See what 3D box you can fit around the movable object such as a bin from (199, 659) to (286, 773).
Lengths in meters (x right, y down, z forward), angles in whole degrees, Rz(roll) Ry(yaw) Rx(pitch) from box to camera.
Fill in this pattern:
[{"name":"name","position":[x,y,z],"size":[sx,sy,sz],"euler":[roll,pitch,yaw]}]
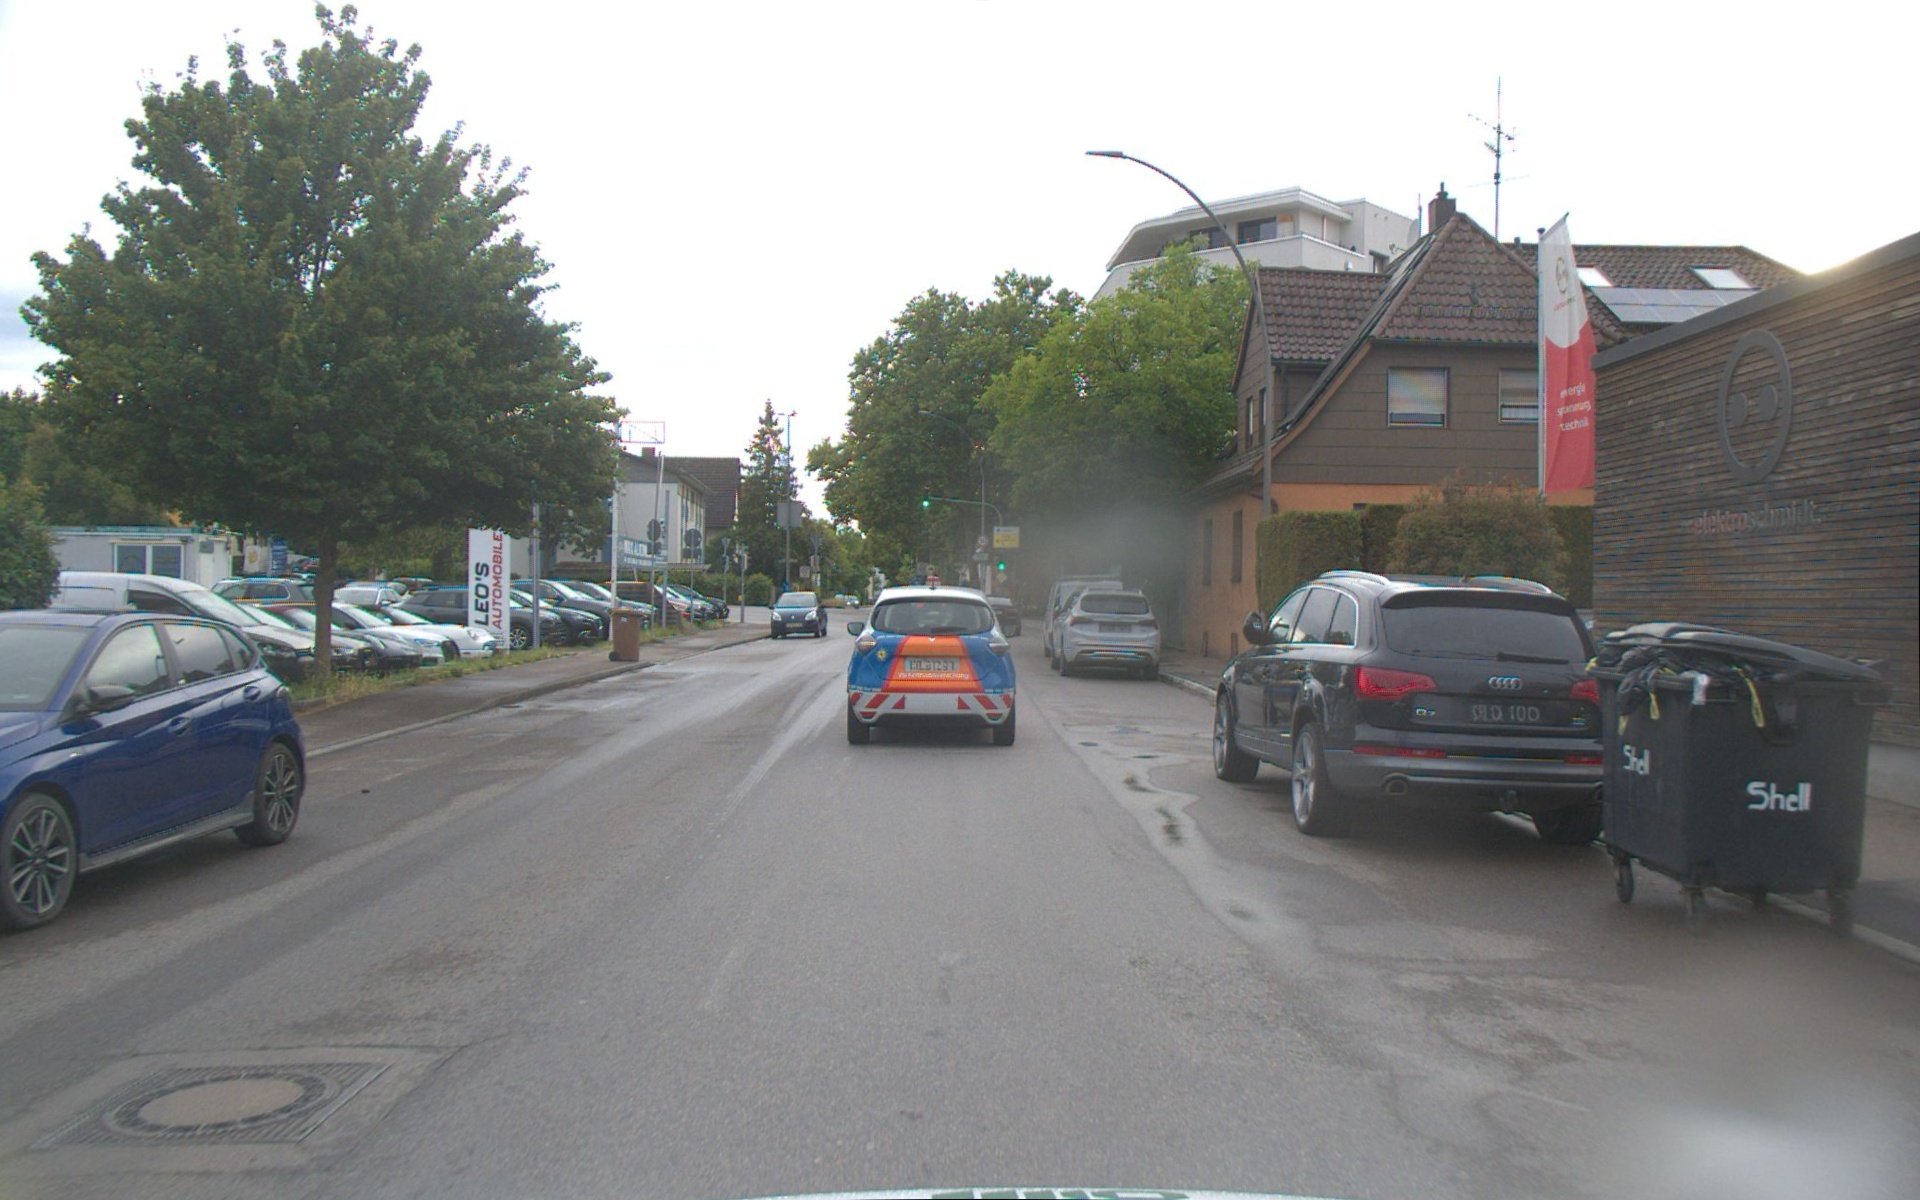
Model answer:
[{"name":"movable object such as a bin","position":[-6.197,0.997,14.294],"size":[0.529,0.926,0.424],"euler":[3,0,-2]}]

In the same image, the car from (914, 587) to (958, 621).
[{"name":"car","position":[-1.142,0.162,76.166],"size":[1.759,1.453,3.997],"euler":[1,1,-4]}]

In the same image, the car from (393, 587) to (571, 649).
[{"name":"car","position":[-11.889,0.427,41.343],"size":[3.905,1.489,1.839],"euler":[0,0,0]}]

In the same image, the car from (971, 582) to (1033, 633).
[{"name":"car","position":[1.422,0.235,57.758],"size":[1.953,1.601,4.000],"euler":[1,1,-1]}]

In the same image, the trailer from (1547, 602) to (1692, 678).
[{"name":"trailer","position":[10.441,0.624,26.220],"size":[1.878,1.052,0.919],"euler":[-4,1,-6]}]

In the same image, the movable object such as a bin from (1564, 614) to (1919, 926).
[{"name":"movable object such as a bin","position":[3.939,0.797,8.453],"size":[1.104,1.412,1.503],"euler":[0,0,-3]}]

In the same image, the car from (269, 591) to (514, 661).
[{"name":"car","position":[-11.481,0.513,33.613],"size":[4.361,1.355,1.771],"euler":[0,0,-1]}]

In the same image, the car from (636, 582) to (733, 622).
[{"name":"car","position":[-11.403,0.076,68.336],"size":[3.875,1.557,1.618],"euler":[1,1,-11]}]

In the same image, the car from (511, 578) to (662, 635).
[{"name":"car","position":[-11.595,0.200,51.522],"size":[4.258,1.720,1.959],"euler":[0,0,0]}]

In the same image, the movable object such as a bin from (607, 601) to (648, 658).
[{"name":"movable object such as a bin","position":[-6.849,0.612,34.124],"size":[0.693,1.149,0.735],"euler":[1,0,-1]}]

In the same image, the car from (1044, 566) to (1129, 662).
[{"name":"car","position":[2.923,0.271,39.011],"size":[1.741,2.064,4.755],"euler":[1,1,2]}]

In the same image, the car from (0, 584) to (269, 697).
[{"name":"car","position":[-11.250,0.491,21.474],"size":[3.835,1.396,1.760],"euler":[0,0,-5]}]

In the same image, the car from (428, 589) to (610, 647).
[{"name":"car","position":[-11.606,0.458,43.709],"size":[4.258,1.489,1.941],"euler":[0,0,0]}]

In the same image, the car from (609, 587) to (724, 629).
[{"name":"car","position":[-10.868,0.291,61.408],"size":[3.904,1.466,1.804],"euler":[1,1,1]}]

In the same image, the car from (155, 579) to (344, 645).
[{"name":"car","position":[-17.176,0.262,40.029],"size":[3.903,1.525,1.938],"euler":[0,0,18]}]

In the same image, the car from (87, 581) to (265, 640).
[{"name":"car","position":[-21.109,0.274,44.647],"size":[3.907,1.557,1.836],"euler":[0,0,-3]}]

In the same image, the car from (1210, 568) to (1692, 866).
[{"name":"car","position":[3.249,0.651,12.050],"size":[2.048,1.690,4.558],"euler":[1,1,-1]}]

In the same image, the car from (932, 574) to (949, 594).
[{"name":"car","position":[-2.027,-1.688,174.919],"size":[1.611,2.052,3.713],"euler":[1,1,-3]}]

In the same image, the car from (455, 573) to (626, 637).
[{"name":"car","position":[-11.716,0.126,46.369],"size":[4.258,1.721,2.058],"euler":[0,0,0]}]

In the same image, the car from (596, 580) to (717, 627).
[{"name":"car","position":[-10.756,0.100,58.846],"size":[3.904,1.571,1.804],"euler":[1,1,1]}]

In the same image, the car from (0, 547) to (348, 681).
[{"name":"car","position":[-11.319,0.180,23.625],"size":[4.468,1.821,1.896],"euler":[0,0,-5]}]

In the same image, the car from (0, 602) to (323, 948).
[{"name":"car","position":[-5.009,0.770,8.738],"size":[1.770,1.427,3.944],"euler":[-1,1,-1]}]

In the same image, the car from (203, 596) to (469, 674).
[{"name":"car","position":[-11.674,0.633,31.159],"size":[4.287,1.398,1.889],"euler":[0,0,-1]}]

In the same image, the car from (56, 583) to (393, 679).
[{"name":"car","position":[-11.525,0.464,26.170],"size":[4.468,1.443,1.896],"euler":[0,0,-5]}]

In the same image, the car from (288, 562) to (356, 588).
[{"name":"car","position":[-44.028,-1.717,114.255],"size":[1.960,1.753,3.985],"euler":[2,2,36]}]

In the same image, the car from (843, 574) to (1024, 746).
[{"name":"car","position":[-0.281,0.542,17.755],"size":[1.710,1.608,4.000],"euler":[0,1,-1]}]

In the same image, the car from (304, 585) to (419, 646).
[{"name":"car","position":[-16.121,0.377,44.755],"size":[1.657,1.556,4.000],"euler":[-1,1,0]}]

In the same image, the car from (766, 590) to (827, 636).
[{"name":"car","position":[-5.412,0.409,55.080],"size":[1.593,1.458,3.684],"euler":[0,0,1]}]

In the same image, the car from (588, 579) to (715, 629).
[{"name":"car","position":[-10.398,0.126,55.942],"size":[3.904,1.571,1.804],"euler":[1,1,1]}]

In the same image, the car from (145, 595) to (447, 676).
[{"name":"car","position":[-11.453,0.591,28.746],"size":[4.465,1.332,1.889],"euler":[0,0,-1]}]

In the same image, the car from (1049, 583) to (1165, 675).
[{"name":"car","position":[2.853,0.528,32.983],"size":[1.828,1.694,4.319],"euler":[1,0,-1]}]
